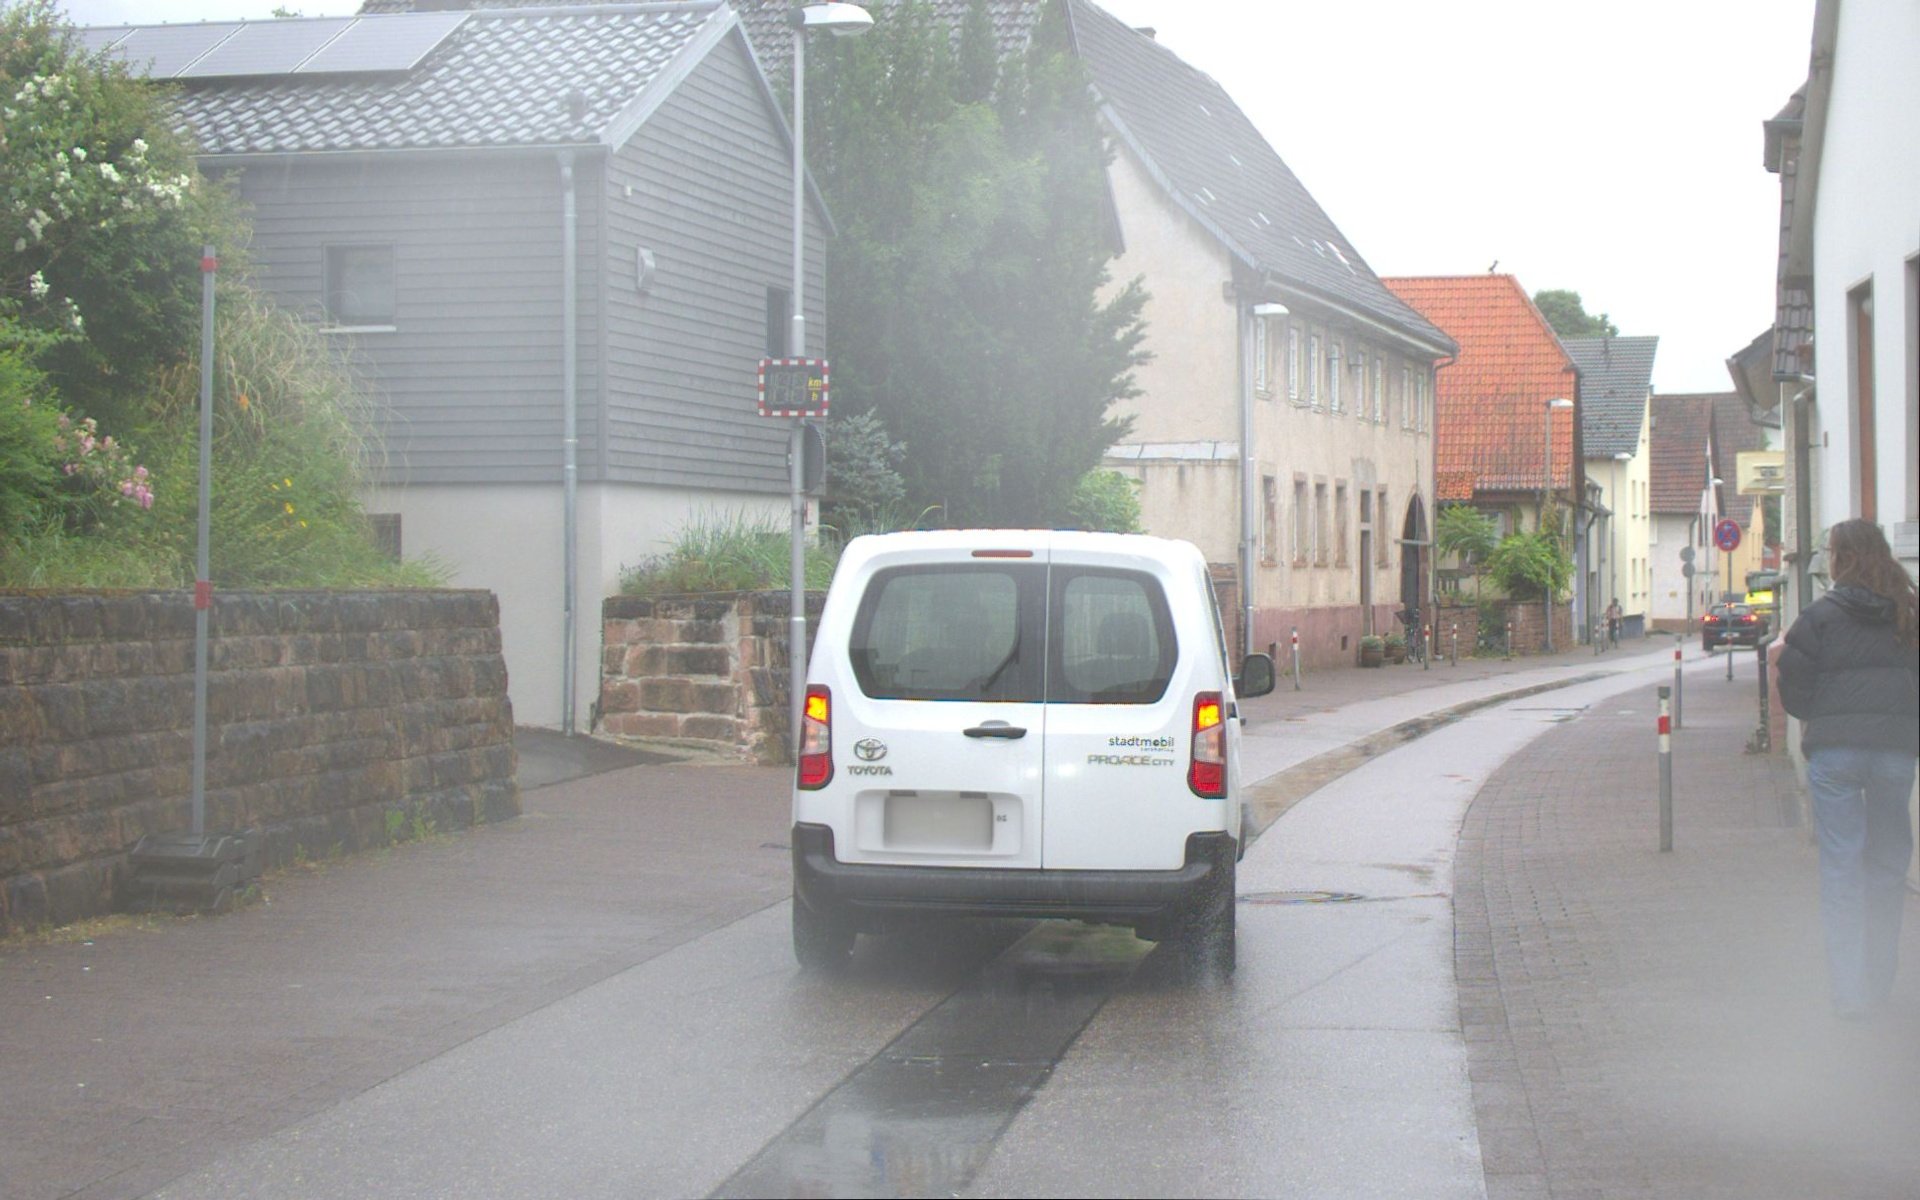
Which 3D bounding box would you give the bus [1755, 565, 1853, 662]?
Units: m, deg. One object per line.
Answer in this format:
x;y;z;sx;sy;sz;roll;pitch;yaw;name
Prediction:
29.453;0.466;119.735;2.796;3.169;8.171;2;0;17;bus

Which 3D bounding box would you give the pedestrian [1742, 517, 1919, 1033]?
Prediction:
3.162;0.586;12.038;0.694;1.726;0.821;2;1;8;pedestrian

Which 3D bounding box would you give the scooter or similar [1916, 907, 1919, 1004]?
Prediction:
3.538;0.960;11.894;0.245;1.024;1.100;2;1;7;scooter or similar

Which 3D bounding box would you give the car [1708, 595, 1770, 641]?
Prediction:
24.209;0.549;106.790;1.563;1.367;3.582;1;0;18;car

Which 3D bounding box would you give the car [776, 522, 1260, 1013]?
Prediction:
0.380;0.643;15.193;1.795;1.812;4.101;2;0;5;car

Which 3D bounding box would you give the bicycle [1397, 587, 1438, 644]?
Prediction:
9.722;0.333;73.031;0.483;1.176;1.833;1;0;19;bicycle
